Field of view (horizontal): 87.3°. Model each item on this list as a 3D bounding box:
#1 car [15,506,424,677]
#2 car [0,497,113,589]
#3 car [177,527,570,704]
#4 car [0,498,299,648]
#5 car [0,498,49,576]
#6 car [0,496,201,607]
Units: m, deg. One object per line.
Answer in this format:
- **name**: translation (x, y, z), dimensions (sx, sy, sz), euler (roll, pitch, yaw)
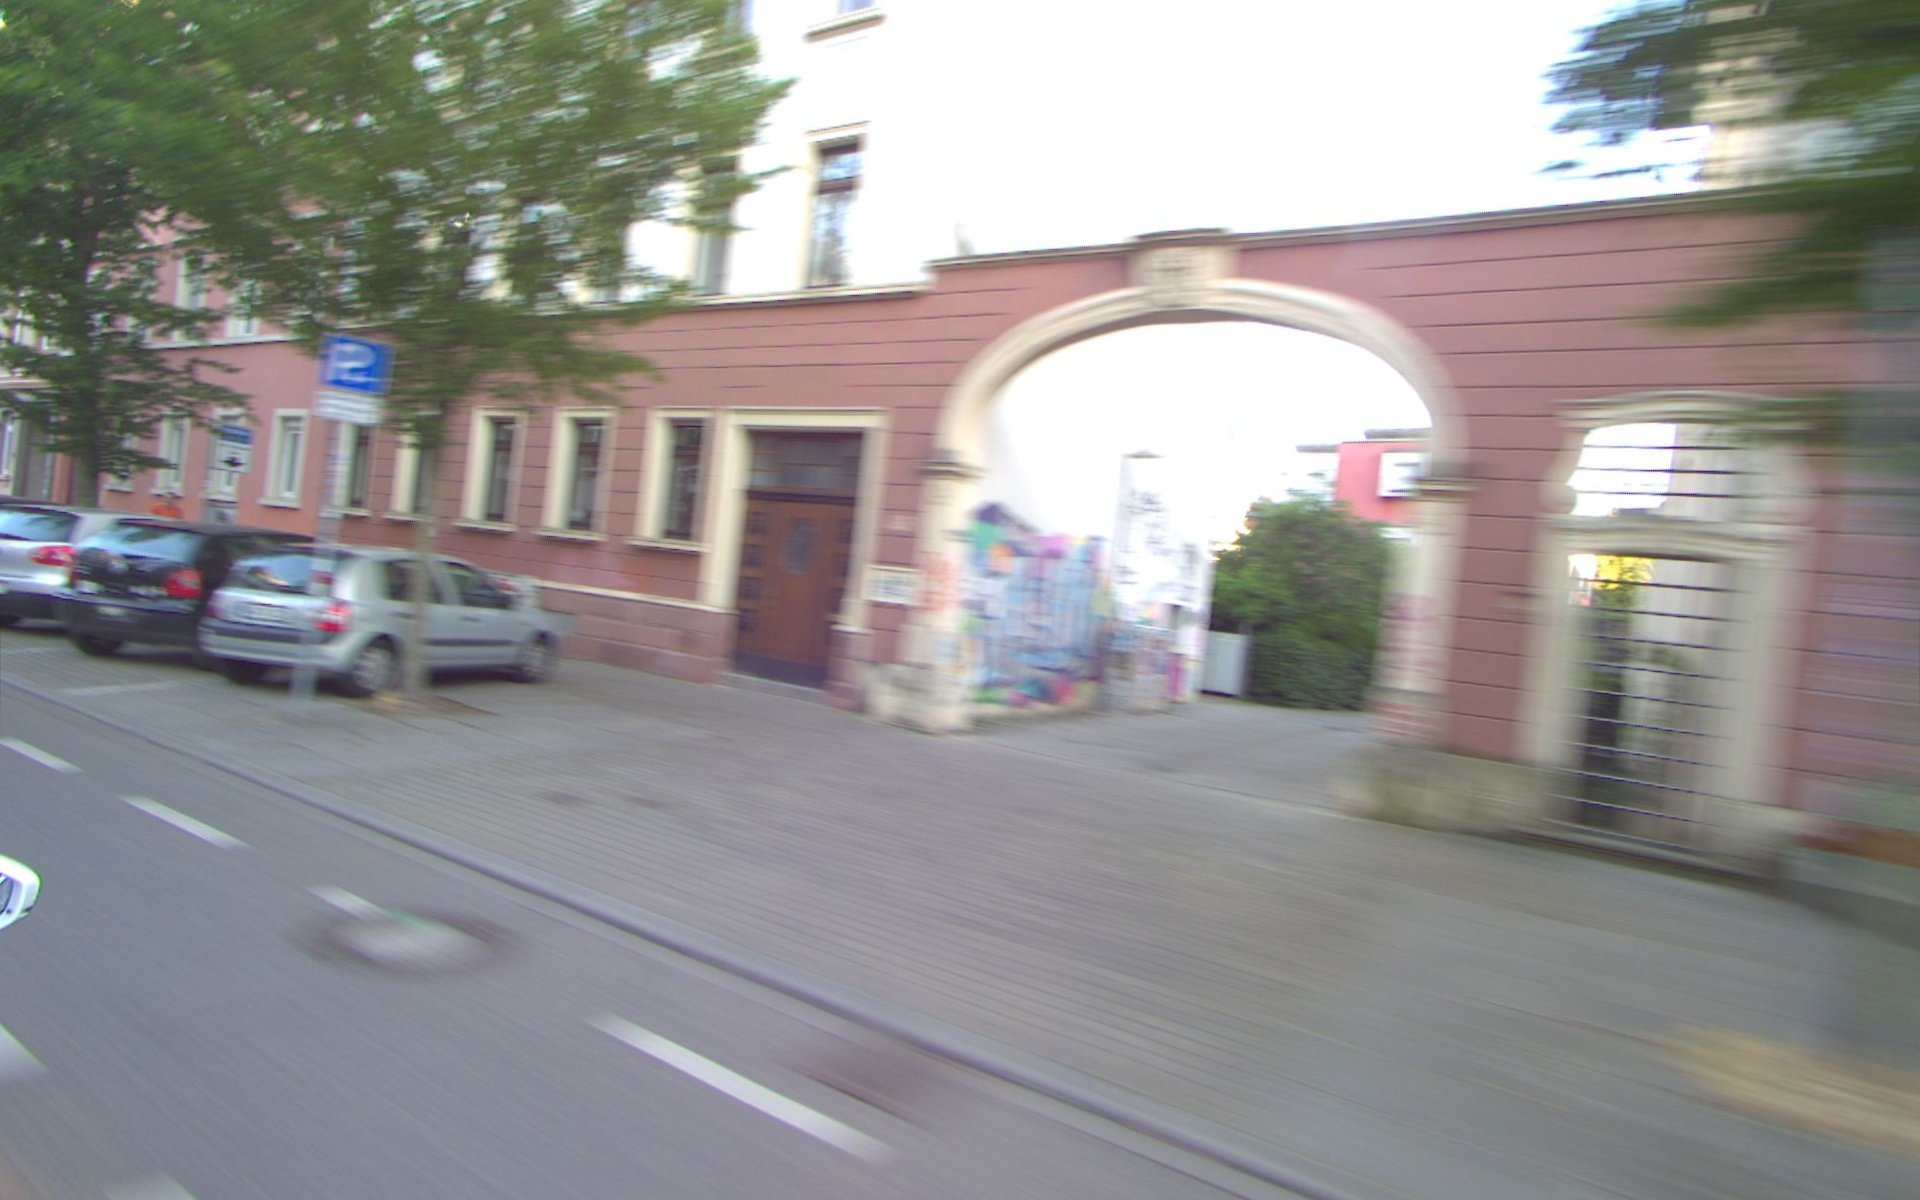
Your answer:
- **car**: translation (-8.006, -0.065, 11.333), dimensions (1.637, 1.447, 3.567), euler (7, 0, 6)
- **car**: translation (-16.978, -1.052, 16.908), dimensions (1.796, 1.511, 4.000), euler (5, 0, 7)
- **car**: translation (-5.935, 0.188, 10.692), dimensions (1.589, 1.446, 3.496), euler (5, -1, 12)
- **car**: translation (-10.479, -0.328, 12.591), dimensions (1.710, 1.535, 3.567), euler (7, 0, 6)
- **car**: translation (-19.662, -1.326, 18.233), dimensions (1.678, 1.476, 4.619), euler (7, 1, 7)
- **car**: translation (-14.517, -0.796, 15.345), dimensions (2.024, 1.535, 4.460), euler (7, 0, 8)
